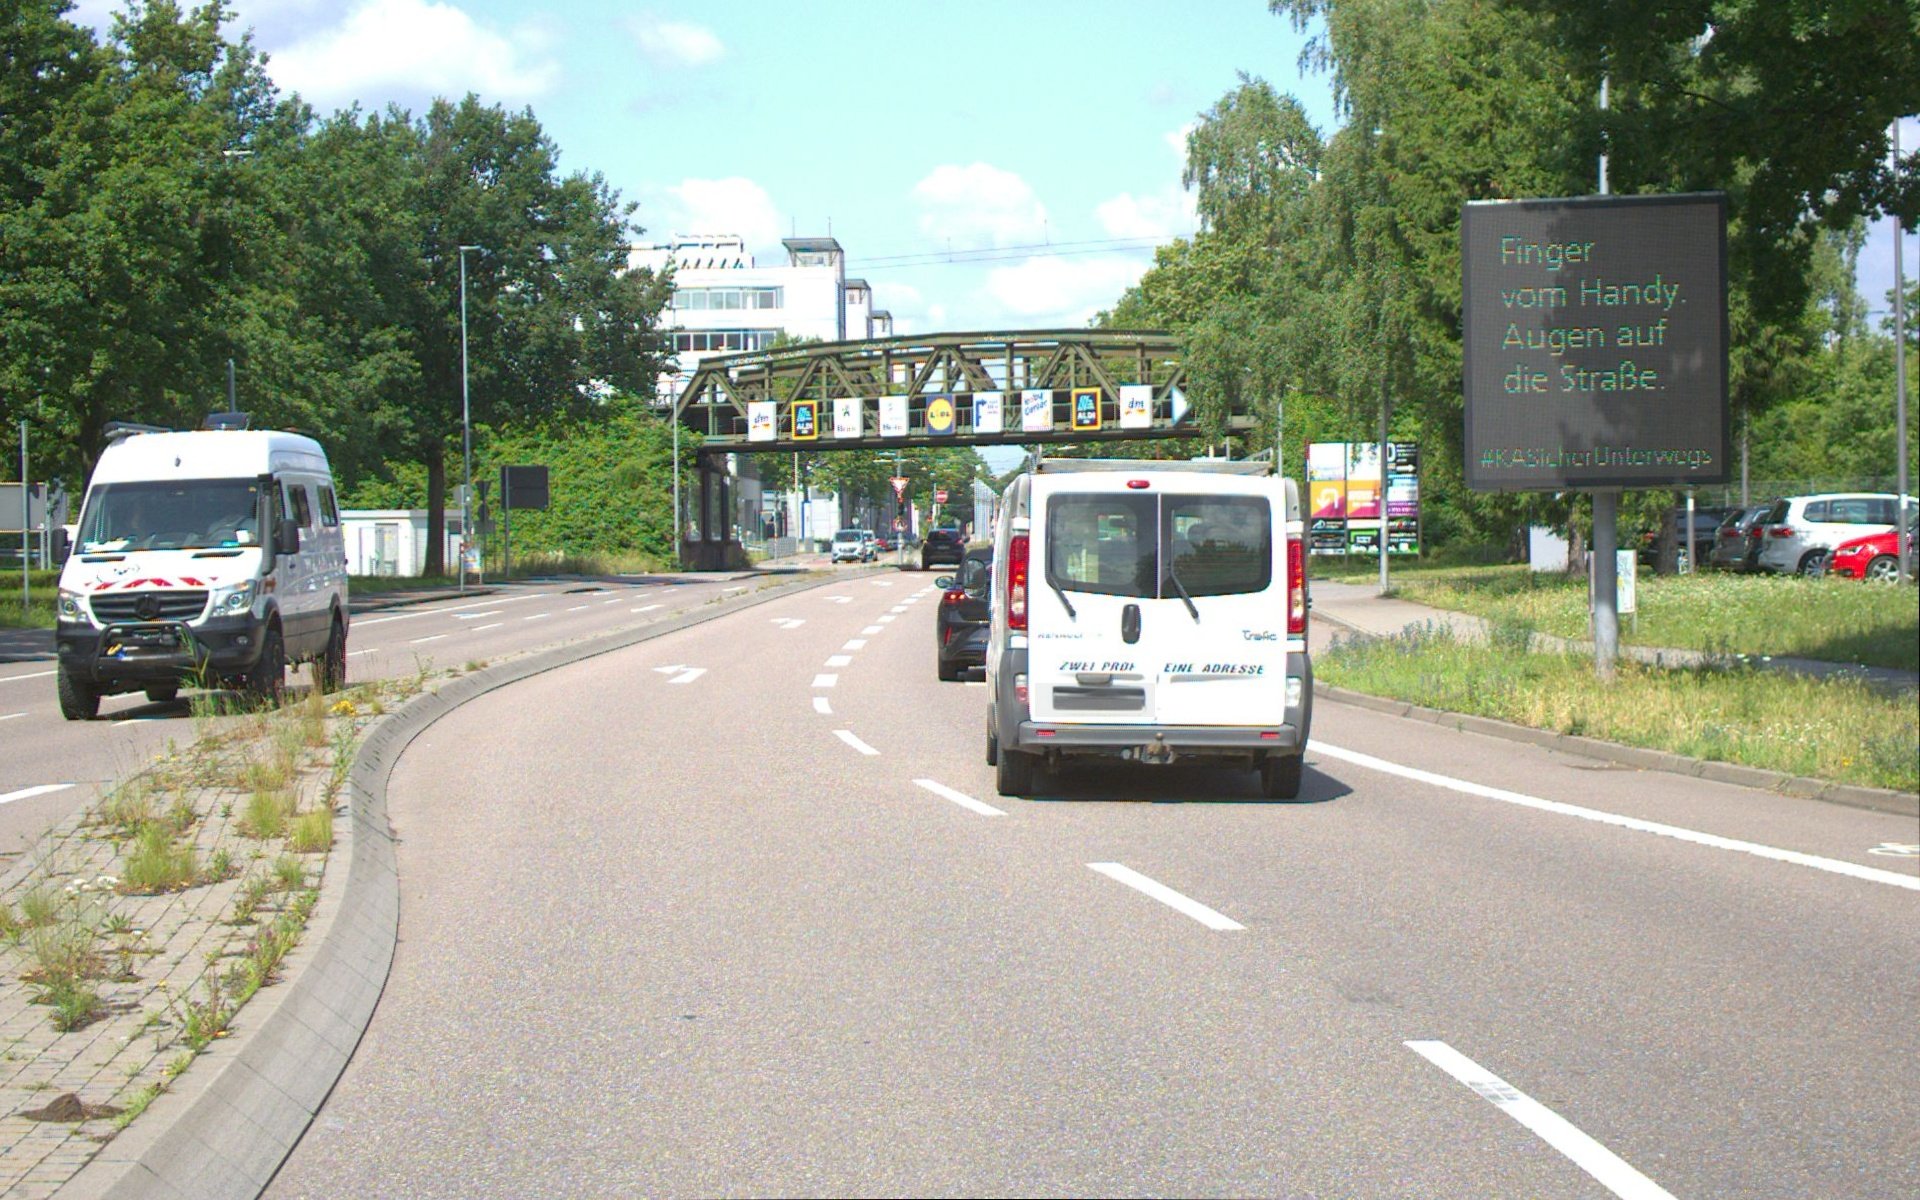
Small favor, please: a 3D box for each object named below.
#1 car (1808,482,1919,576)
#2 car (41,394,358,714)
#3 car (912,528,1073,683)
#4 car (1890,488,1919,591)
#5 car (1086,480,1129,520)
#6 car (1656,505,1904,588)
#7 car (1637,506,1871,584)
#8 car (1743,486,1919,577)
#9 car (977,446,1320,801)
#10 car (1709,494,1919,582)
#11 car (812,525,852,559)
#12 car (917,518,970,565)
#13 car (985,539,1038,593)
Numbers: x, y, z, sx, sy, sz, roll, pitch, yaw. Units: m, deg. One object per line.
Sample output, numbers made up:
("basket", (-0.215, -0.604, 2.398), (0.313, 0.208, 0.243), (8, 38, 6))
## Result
("car", (16.662, -1.192, 57.694), (4.355, 1.507, 1.936), (0, 3, 0))
("car", (-7.470, -0.483, 34.443), (2.023, 2.883, 6.383), (-1, 1, -3))
("car", (0.347, 0.020, 39.965), (1.774, 1.623, 4.001), (0, 2, 0))
("car", (16.459, -0.902, 51.764), (4.355, 1.507, 1.936), (0, 3, 0))
("car", (9.369, -6.320, 218.320), (2.379, 2.467, 4.760), (0, 1, 7))
("car", (15.943, -1.057, 67.008), (4.355, 1.507, 1.936), (0, 3, 0))
("car", (16.322, -1.141, 70.825), (4.355, 1.507, 1.936), (0, 3, 0))
("car", (16.106, -1.203, 60.163), (4.355, 1.507, 1.936), (0, 3, 0))
("car", (1.103, 0.044, 22.215), (1.973, 2.052, 4.565), (0, 2, 0))
("car", (16.071, -1.140, 62.749), (4.355, 1.507, 1.936), (0, 3, 0))
("car", (-7.638, -3.492, 205.781), (1.994, 2.007, 4.000), (-1, 1, 4))
("car", (-0.673, -2.445, 142.876), (1.994, 1.765, 4.000), (0, 3, 2))
("car", (1.999, -1.315, 132.321), (1.993, 2.007, 4.000), (-1, 1, 2))
